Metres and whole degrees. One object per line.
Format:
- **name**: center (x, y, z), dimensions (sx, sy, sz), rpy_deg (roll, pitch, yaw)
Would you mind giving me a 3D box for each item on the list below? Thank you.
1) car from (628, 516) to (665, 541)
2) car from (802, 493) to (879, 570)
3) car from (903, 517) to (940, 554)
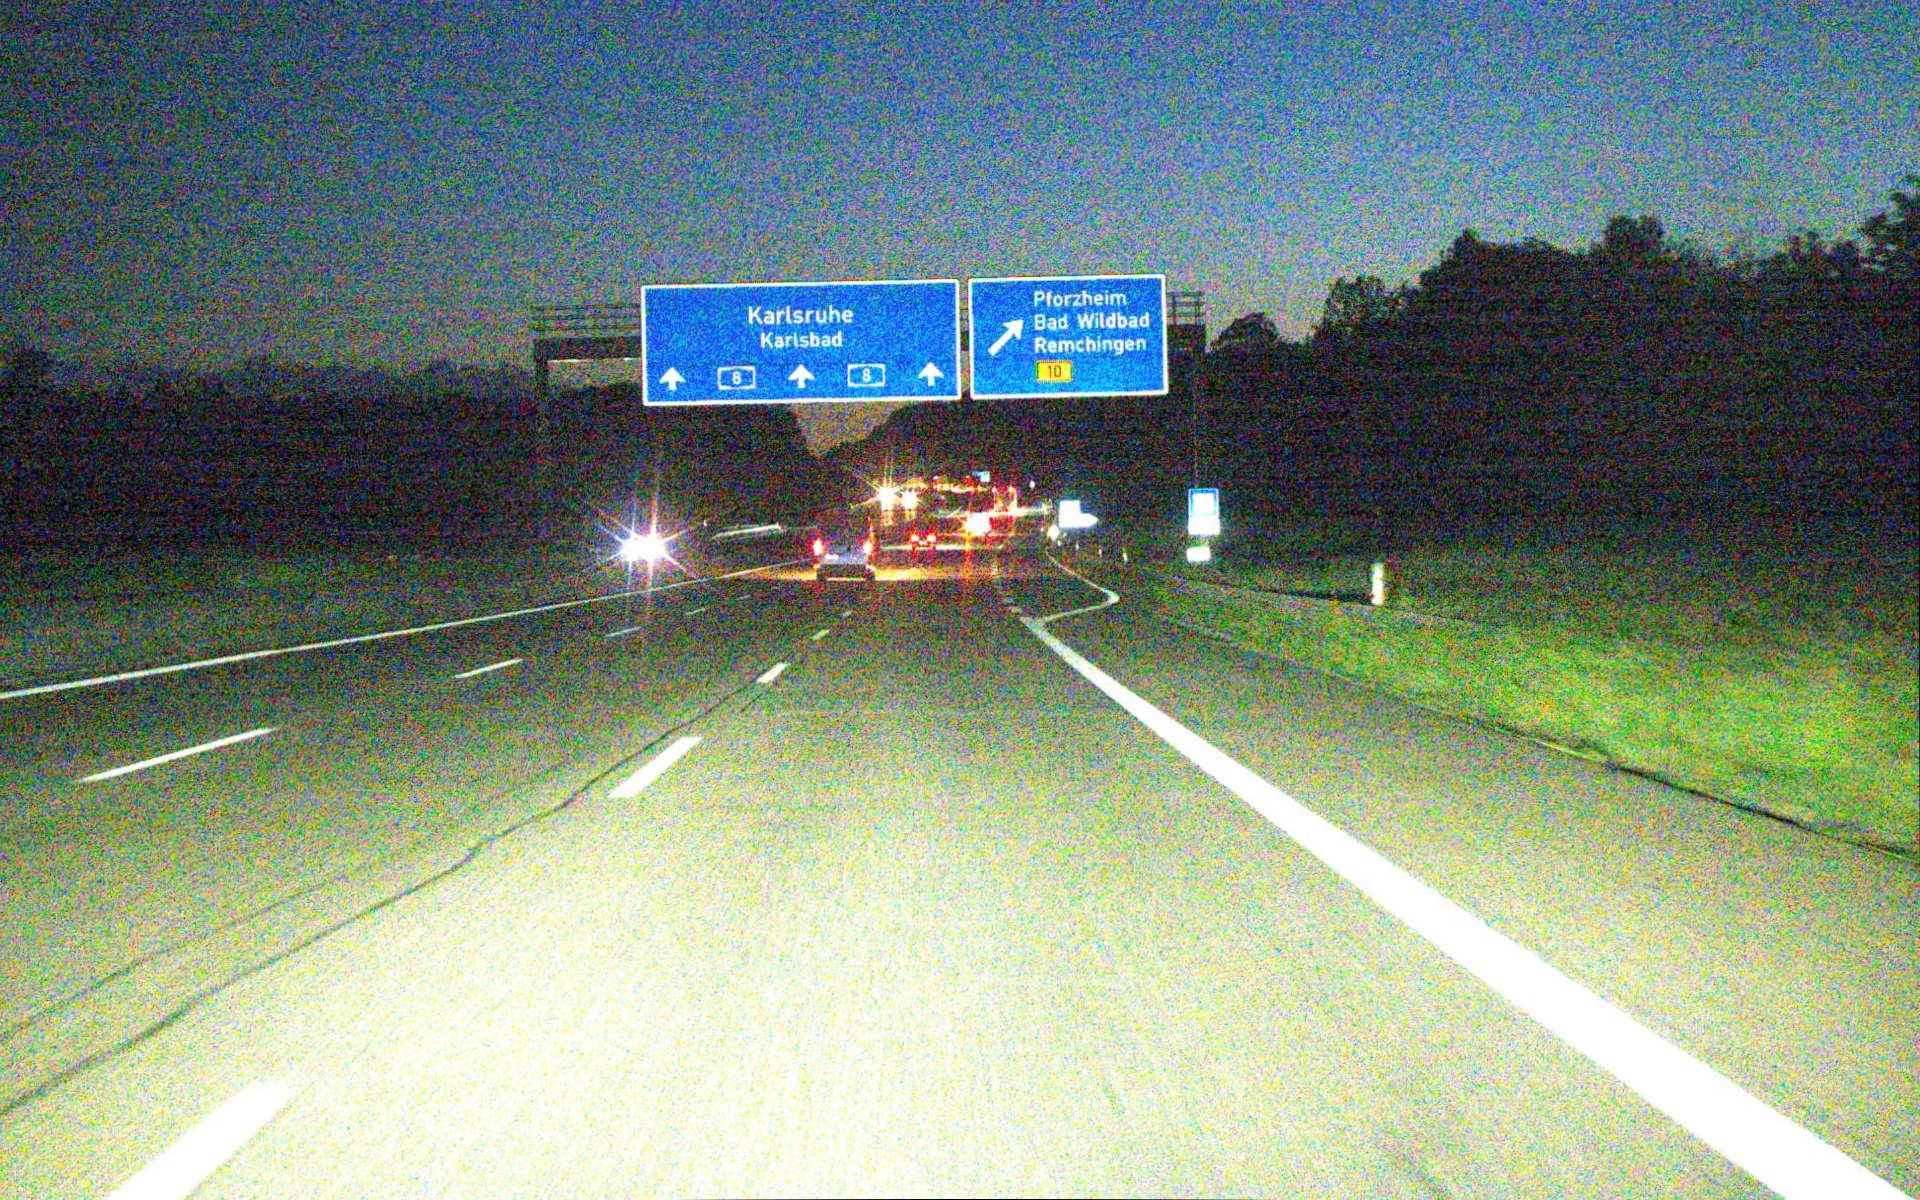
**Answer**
- **car**: center (-21.841, -4.998, 239.798), dimensions (1.993, 1.739, 5.072), rpy_deg (0, 1, 1)
- **car**: center (-4.409, -2.491, 126.839), dimensions (2.786, 2.724, 6.299), rpy_deg (0, 0, -2)
- **car**: center (-2.898, -4.828, 259.605), dimensions (2.786, 2.724, 6.299), rpy_deg (0, 0, 0)
